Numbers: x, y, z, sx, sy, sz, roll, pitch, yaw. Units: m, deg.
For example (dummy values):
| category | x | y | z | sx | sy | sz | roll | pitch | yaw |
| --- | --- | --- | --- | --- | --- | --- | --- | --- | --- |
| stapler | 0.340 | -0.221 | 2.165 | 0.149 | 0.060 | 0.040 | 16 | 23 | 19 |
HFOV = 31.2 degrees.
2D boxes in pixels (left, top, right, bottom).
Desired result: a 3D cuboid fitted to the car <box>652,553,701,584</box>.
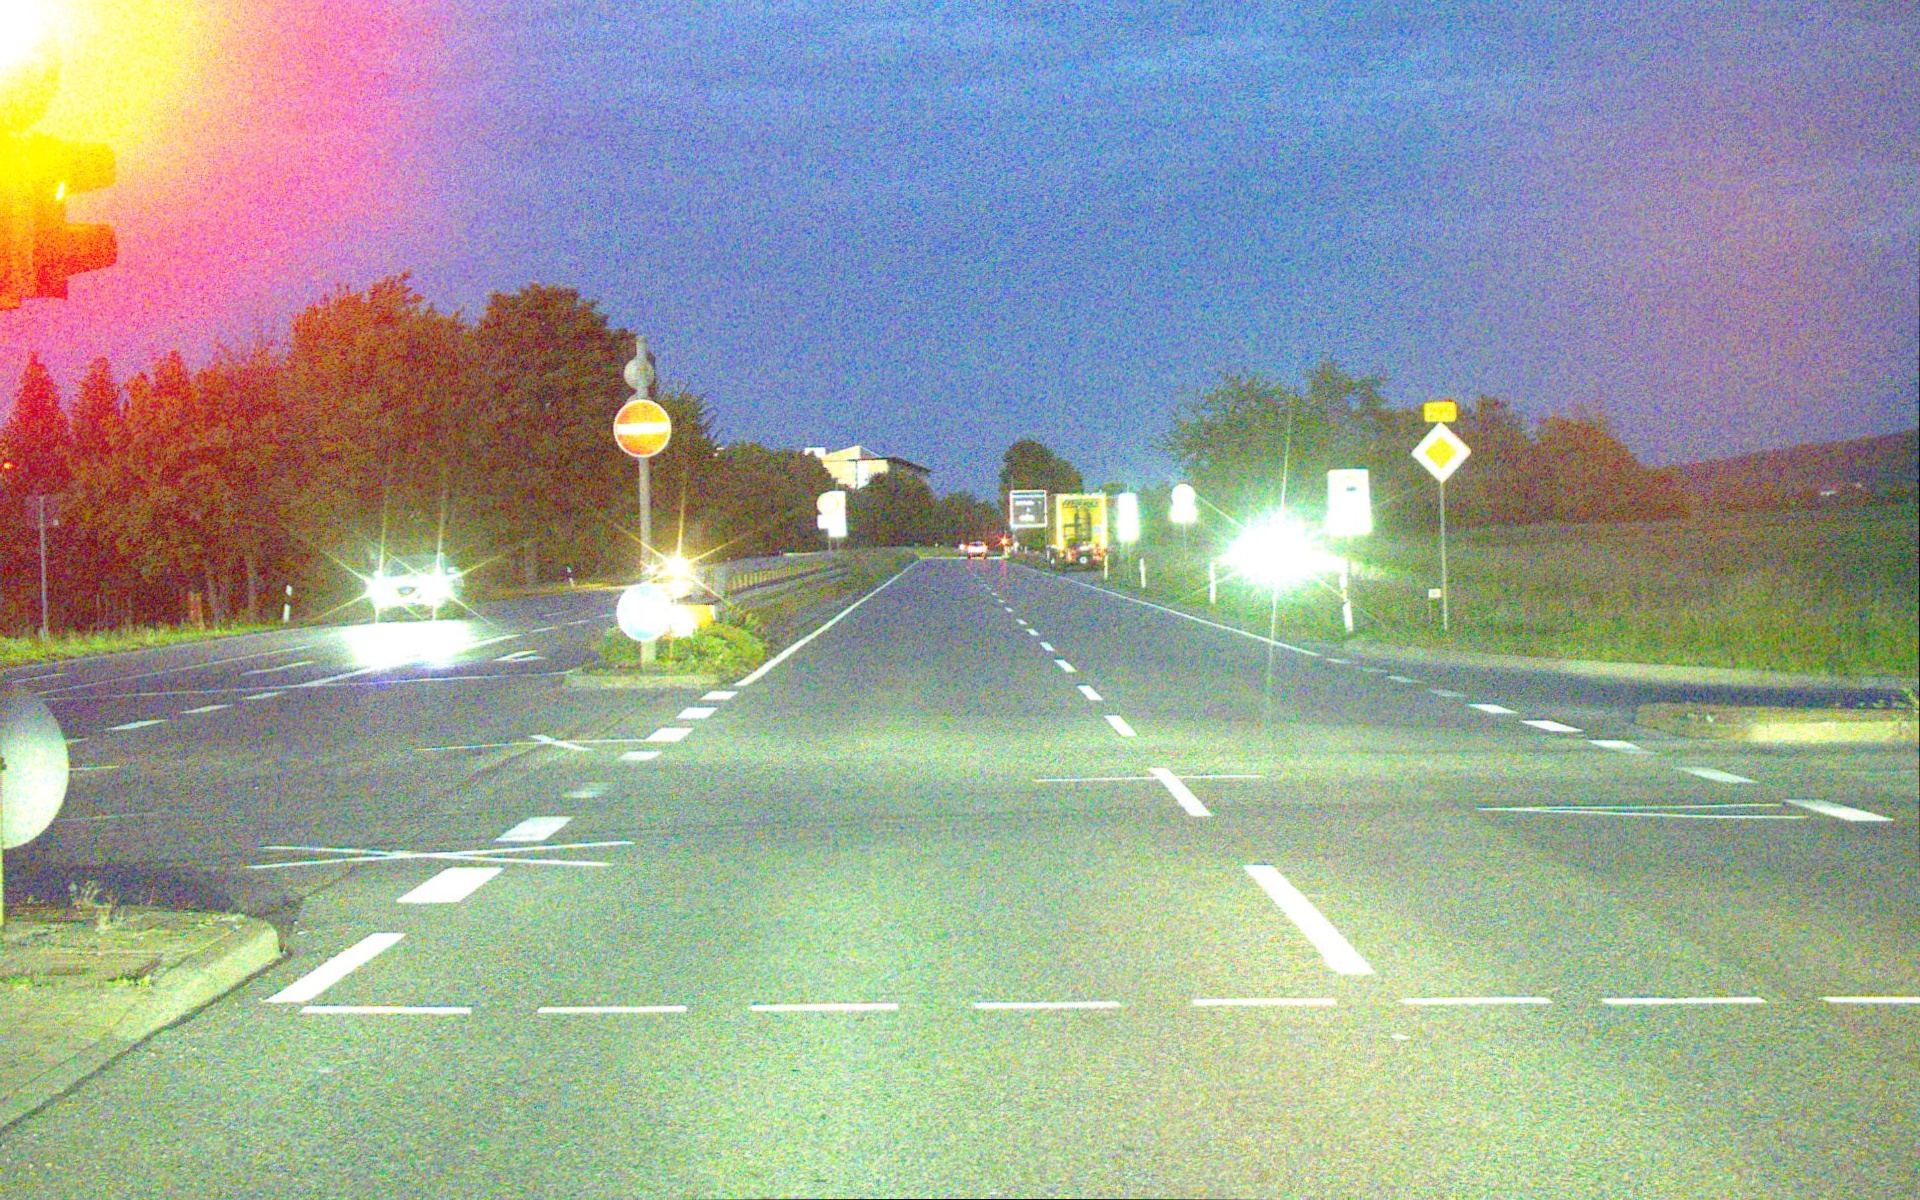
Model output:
| category | x | y | z | sx | sy | sz | roll | pitch | yaw |
| --- | --- | --- | --- | --- | --- | --- | --- | --- | --- |
| car | -13.311 | -1.477 | 161.383 | 1.993 | 1.382 | 4.000 | -1 | 1 | -1 |

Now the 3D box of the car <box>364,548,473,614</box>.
| category | x | y | z | sx | sy | sz | roll | pitch | yaw |
| --- | --- | --- | --- | --- | --- | --- | --- | --- | --- |
| car | -13.156 | -0.492 | 83.696 | 1.993 | 1.514 | 4.298 | -1 | 1 | -1 |
